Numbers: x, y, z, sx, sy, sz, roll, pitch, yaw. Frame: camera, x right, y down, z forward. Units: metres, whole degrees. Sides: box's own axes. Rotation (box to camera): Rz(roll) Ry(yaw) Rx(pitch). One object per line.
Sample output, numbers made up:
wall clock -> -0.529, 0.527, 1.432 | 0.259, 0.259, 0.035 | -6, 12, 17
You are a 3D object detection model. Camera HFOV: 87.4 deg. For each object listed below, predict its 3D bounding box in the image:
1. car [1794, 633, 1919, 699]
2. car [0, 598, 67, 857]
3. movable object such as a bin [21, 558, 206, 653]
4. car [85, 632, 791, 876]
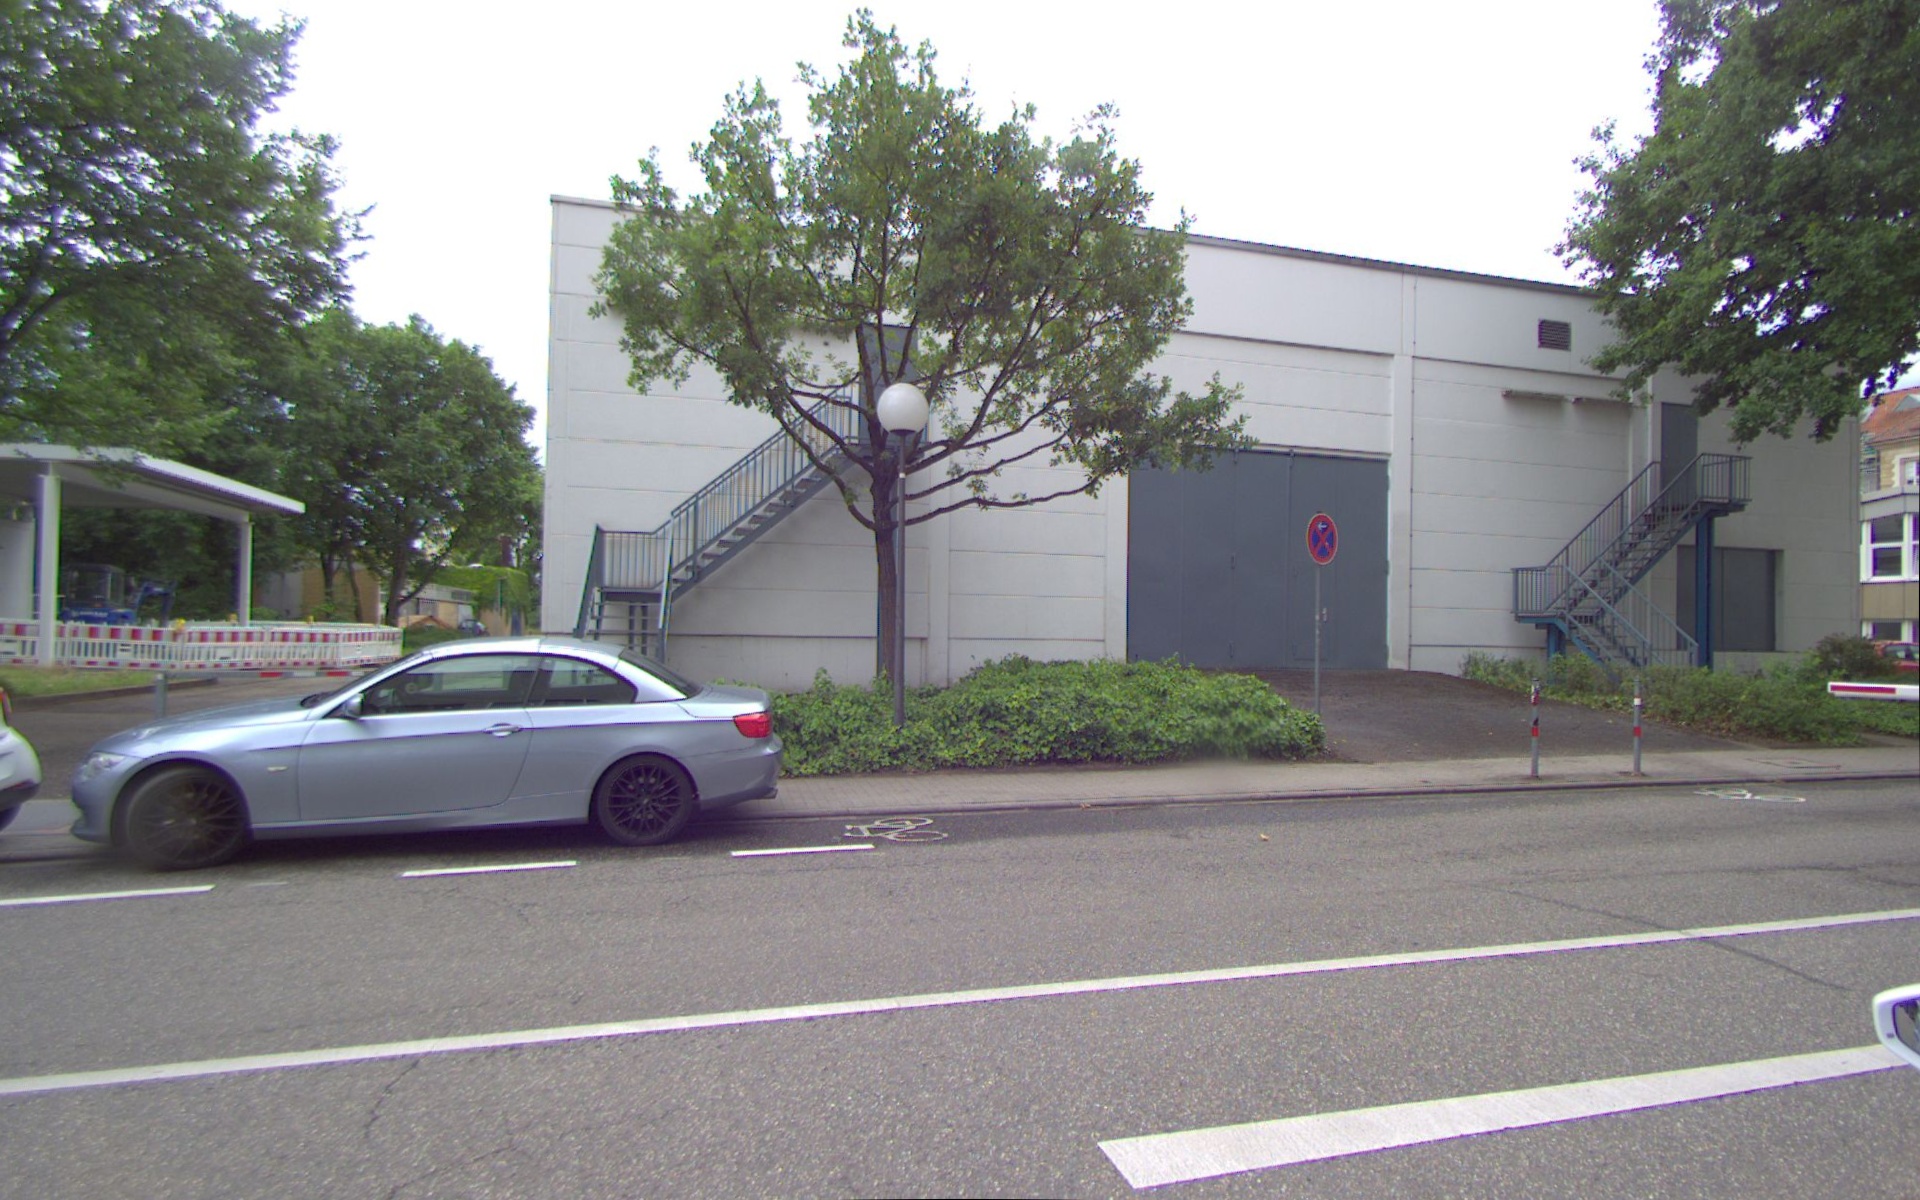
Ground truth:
car -> 23.465, 1.646, 25.327 | 3.934, 1.550, 1.863 | 1, -1, -16
car -> -7.743, 0.770, 5.533 | 3.814, 1.607, 1.716 | 1, -1, -16
movable object such as a bin -> -21.609, 0.242, 25.926 | 1.969, 2.200, 4.653 | 1, -3, -18
car -> -3.450, 0.973, 7.430 | 4.128, 1.407, 1.817 | 1, -1, -18
